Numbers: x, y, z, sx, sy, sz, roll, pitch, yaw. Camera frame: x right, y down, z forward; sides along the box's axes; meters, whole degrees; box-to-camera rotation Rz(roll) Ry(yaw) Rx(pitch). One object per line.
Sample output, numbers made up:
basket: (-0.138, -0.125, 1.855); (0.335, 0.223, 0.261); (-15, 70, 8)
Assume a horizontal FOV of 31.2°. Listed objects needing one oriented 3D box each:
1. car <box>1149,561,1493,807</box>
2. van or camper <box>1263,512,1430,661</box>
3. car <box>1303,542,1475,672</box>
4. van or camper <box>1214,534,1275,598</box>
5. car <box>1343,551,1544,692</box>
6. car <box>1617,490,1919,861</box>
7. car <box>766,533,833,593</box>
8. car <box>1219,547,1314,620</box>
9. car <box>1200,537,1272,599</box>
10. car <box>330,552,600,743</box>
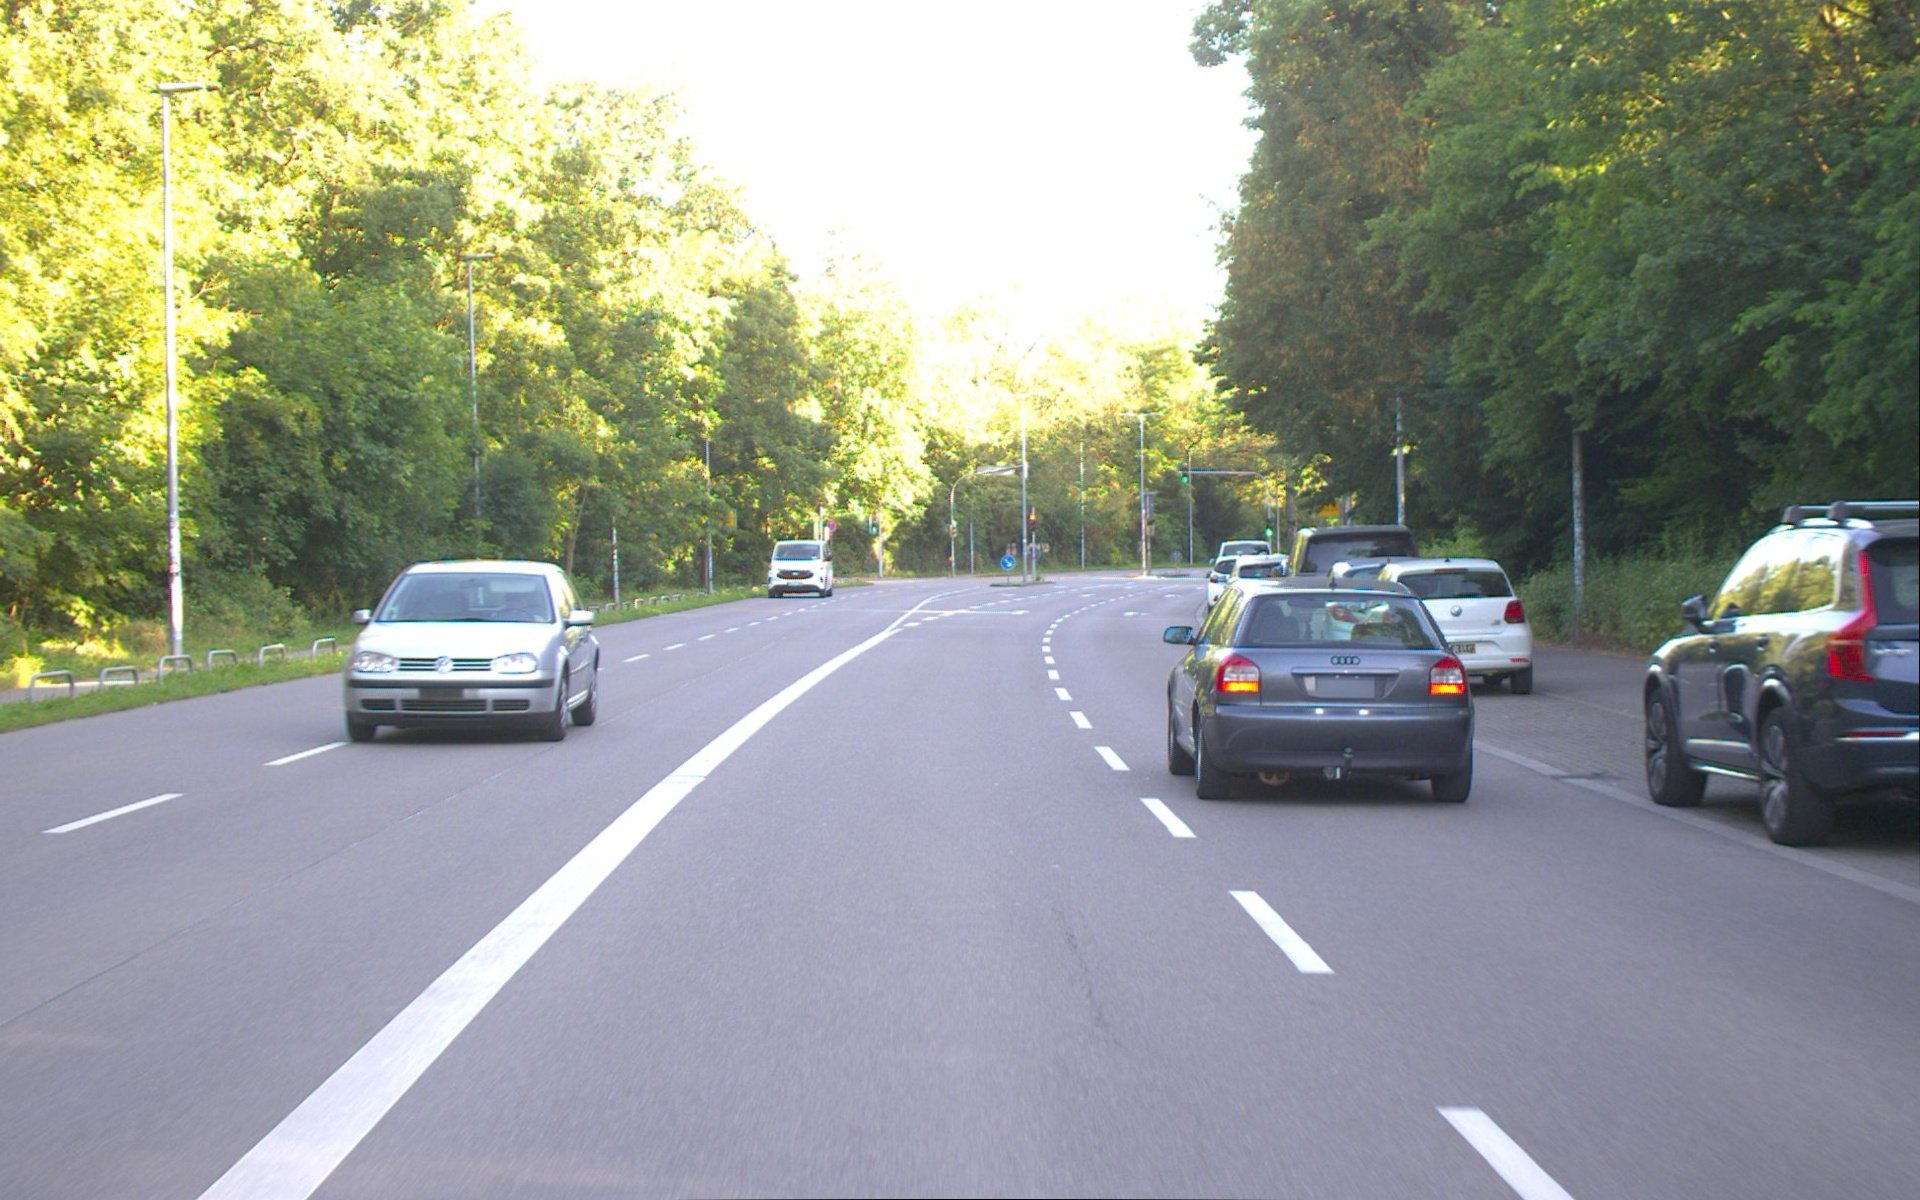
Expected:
car: (2.268, 0.479, 22.563); (1.727, 1.436, 4.090); (0, 1, -1)
van or camper: (5.448, -0.230, 49.006); (1.893, 1.942, 5.134); (-2, 1, 2)
car: (5.339, 0.051, 43.201); (1.728, 1.538, 4.217); (0, 1, 2)
van or camper: (8.962, -1.083, 108.523); (1.832, 1.963, 5.341); (0, 1, 4)
car: (5.265, 0.195, 37.871); (1.728, 1.436, 4.100); (-1, 1, 2)
car: (5.201, 0.321, 19.797); (1.829, 1.861, 5.074); (-1, 1, 0)
car: (-5.524, -1.272, 118.710); (1.993, 1.985, 4.997); (2, 0, 0)
car: (6.302, -0.367, 71.045); (1.728, 1.436, 4.666); (0, 1, 3)
car: (6.888, -0.817, 85.761); (1.728, 1.517, 4.089); (0, 1, 5)
car: (-3.981, 0.340, 28.188); (1.681, 1.402, 3.890); (1, 1, -1)
